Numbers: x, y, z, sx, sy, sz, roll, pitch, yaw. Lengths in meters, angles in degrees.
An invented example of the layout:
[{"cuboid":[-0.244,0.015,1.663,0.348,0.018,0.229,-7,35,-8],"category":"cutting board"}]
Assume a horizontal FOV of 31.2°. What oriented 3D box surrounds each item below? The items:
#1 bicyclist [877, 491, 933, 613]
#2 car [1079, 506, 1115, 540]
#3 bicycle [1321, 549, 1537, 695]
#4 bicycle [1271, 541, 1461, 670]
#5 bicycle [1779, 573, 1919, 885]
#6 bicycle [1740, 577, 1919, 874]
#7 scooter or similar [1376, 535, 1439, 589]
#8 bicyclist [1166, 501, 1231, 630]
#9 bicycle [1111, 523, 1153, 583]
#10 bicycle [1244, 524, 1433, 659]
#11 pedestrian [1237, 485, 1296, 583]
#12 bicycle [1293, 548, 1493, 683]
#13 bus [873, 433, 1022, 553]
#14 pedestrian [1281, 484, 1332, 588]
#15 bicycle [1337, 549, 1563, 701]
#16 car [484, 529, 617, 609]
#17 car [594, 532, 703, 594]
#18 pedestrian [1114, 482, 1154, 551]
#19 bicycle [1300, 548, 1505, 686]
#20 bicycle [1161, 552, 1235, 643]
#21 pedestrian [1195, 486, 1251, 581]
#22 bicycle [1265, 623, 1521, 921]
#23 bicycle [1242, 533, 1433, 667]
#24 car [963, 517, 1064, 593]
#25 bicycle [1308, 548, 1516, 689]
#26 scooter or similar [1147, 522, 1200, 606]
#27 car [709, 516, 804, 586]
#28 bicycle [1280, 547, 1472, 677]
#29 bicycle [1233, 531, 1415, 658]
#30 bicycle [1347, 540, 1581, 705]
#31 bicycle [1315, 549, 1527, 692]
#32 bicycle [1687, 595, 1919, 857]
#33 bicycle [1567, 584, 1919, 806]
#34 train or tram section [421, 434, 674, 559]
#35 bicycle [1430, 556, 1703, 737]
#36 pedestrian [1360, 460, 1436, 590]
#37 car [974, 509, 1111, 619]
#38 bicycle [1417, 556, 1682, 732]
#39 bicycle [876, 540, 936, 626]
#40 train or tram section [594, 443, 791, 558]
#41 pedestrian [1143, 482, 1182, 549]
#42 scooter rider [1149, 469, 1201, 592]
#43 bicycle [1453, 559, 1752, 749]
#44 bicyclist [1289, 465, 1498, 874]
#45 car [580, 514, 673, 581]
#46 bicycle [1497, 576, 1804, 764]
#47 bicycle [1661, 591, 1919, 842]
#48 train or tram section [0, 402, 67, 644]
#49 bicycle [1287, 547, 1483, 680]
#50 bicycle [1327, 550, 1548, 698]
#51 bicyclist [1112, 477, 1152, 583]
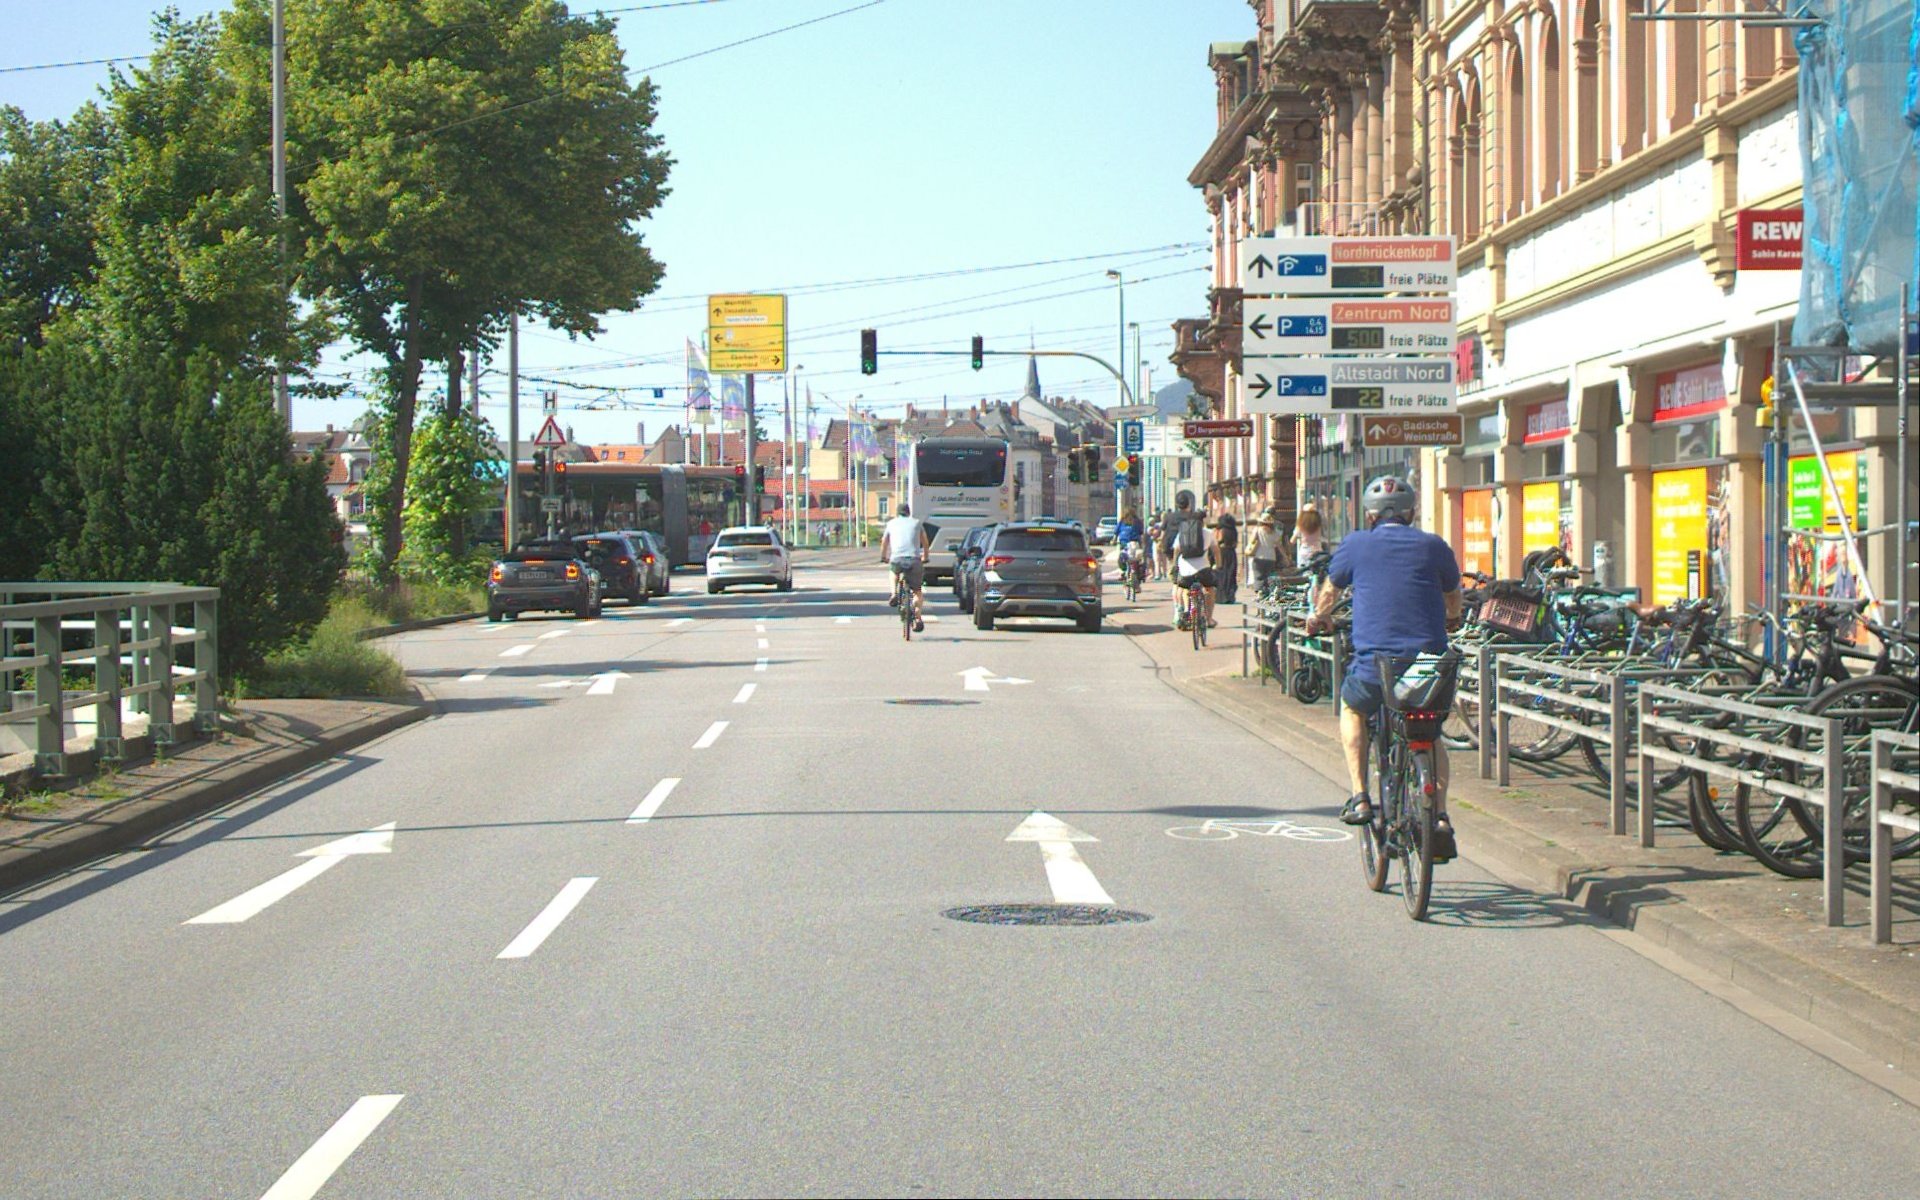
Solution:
[{"cuboid":[-0.727,-0.635,45.042,0.688,1.571,1.049,1,1,-2],"category":"bicyclist"},{"cuboid":[7.941,-4.479,199.515,1.993,1.871,4.000,-2,1,1],"category":"car"},{"cuboid":[3.815,0.176,28.007,1.693,1.174,0.451,0,1,0],"category":"bicycle"},{"cuboid":[3.745,0.046,31.755,1.693,1.174,0.470,0,1,0],"category":"bicycle"},{"cuboid":[4.087,0.485,13.296,1.693,1.174,0.608,0,1,0],"category":"bicycle"},{"cuboid":[4.088,0.498,13.981,1.693,1.174,0.608,0,1,0],"category":"bicycle"},{"cuboid":[5.870,-0.500,45.096,0.691,0.648,0.565,-5,1,-1],"category":"scooter or similar"},{"cuboid":[2.949,-0.438,42.591,0.688,1.571,1.049,1,1,-1],"category":"bicyclist"},{"cuboid":[3.185,-0.881,63.854,0.734,1.089,1.898,1,1,2],"category":"bicycle"},{"cuboid":[3.626,-0.089,33.004,1.693,1.174,0.609,-3,2,0],"category":"bicycle"},{"cuboid":[5.228,-1.131,58.767,0.862,1.634,0.876,-1,1,-2],"category":"pedestrian"},{"cuboid":[3.791,0.131,30.130,1.693,1.174,0.459,0,1,0],"category":"bicycle"},{"cuboid":[-0.395,-2.587,84.809,2.968,2.767,8.643,1,1,-5],"category":"bus"},{"cuboid":[5.513,-1.021,54.702,0.654,1.615,0.815,-2,2,-2],"category":"pedestrian"},{"cuboid":[3.826,0.189,26.900,1.693,1.174,0.497,0,1,0],"category":"bicycle"},{"cuboid":[-7.101,-0.564,59.950,1.815,1.327,4.000,1,1,0],"category":"car"},{"cuboid":[-6.883,-0.841,76.362,2.037,1.327,4.000,1,1,0],"category":"car"},{"cuboid":[4.216,-2.020,83.316,0.862,1.634,0.876,1,1,-2],"category":"pedestrian"},{"cuboid":[3.792,0.143,29.549,1.693,1.174,0.514,0,1,0],"category":"bicycle"},{"cuboid":[2.948,-0.046,42.769,0.734,1.089,1.898,1,1,-1],"category":"bicycle"},{"cuboid":[4.620,-1.174,60.451,0.862,1.634,0.876,-1,1,-2],"category":"pedestrian"},{"cuboid":[1.752,0.669,14.196,0.734,1.089,1.911,1,1,-2],"category":"bicycle"},{"cuboid":[3.542,-0.006,32.352,1.693,1.174,0.609,-2,2,0],"category":"bicycle"},{"cuboid":[1.068,-0.940,70.591,1.993,1.487,4.000,1,1,0],"category":"car"},{"cuboid":[3.810,0.155,29.011,1.693,1.174,0.457,0,1,0],"category":"bicycle"},{"cuboid":[3.025,-0.516,48.830,0.688,1.163,1.464,1,1,2],"category":"scooter or similar"},{"cuboid":[-4.546,-1.116,77.133,1.858,1.502,4.000,1,1,0],"category":"car"},{"cuboid":[3.780,0.107,31.294,1.693,1.174,0.470,0,1,0],"category":"bicycle"},{"cuboid":[3.555,-0.059,33.638,1.693,1.174,0.609,-2,2,0],"category":"bicycle"},{"cuboid":[3.838,0.164,26.231,1.693,1.236,0.608,0,1,0],"category":"bicycle"},{"cuboid":[3.818,0.165,28.517,1.693,1.174,0.463,0,1,0],"category":"bicycle"},{"cuboid":[4.037,0.530,14.775,1.693,1.093,0.608,0,1,0],"category":"bicycle"},{"cuboid":[4.023,0.476,17.561,1.739,1.105,0.608,0,1,0],"category":"bicycle"},{"cuboid":[-12.188,-3.038,102.854,2.826,3.569,10.020,1,1,23],"category":"train or tram section"},{"cuboid":[3.989,0.300,22.691,1.693,1.174,0.608,0,1,0],"category":"bicycle"},{"cuboid":[5.819,-0.993,45.709,0.755,1.650,0.837,-5,1,-1],"category":"pedestrian"},{"cuboid":[1.157,-0.555,50.037,1.873,1.487,4.000,-1,2,0],"category":"car"},{"cuboid":[3.991,0.291,23.356,1.693,1.174,0.608,0,1,0],"category":"bicycle"},{"cuboid":[-0.723,-0.232,45.132,0.734,1.089,1.898,1,1,-2],"category":"bicycle"},{"cuboid":[-8.578,-3.166,111.225,2.826,3.569,8.216,1,1,23],"category":"train or tram section"},{"cuboid":[5.011,-2.099,85.060,0.862,1.634,0.876,-1,1,-2],"category":"pedestrian"},{"cuboid":[3.048,-0.991,48.859,0.688,1.723,0.778,1,1,2],"category":"scooter rider"},{"cuboid":[4.038,0.331,21.673,1.771,1.174,0.608,0,1,0],"category":"bicycle"},{"cuboid":[1.760,0.267,14.063,0.688,1.610,0.918,1,1,-2],"category":"bicyclist"},{"cuboid":[-6.672,-1.060,68.973,1.451,1.296,4.000,1,1,0],"category":"car"},{"cuboid":[4.072,0.406,20.350,1.693,1.083,0.608,0,1,0],"category":"bicycle"},{"cuboid":[4.062,0.513,15.452,1.693,1.093,0.608,0,1,0],"category":"bicycle"},{"cuboid":[-15.500,-1.173,51.749,2.613,3.569,6.018,1,1,-1],"category":"train or tram section"},{"cuboid":[3.794,0.119,30.713,1.693,1.174,0.460,0,1,0],"category":"bicycle"},{"cuboid":[3.810,0.187,27.474,1.693,1.174,0.491,0,1,0],"category":"bicycle"},{"cuboid":[3.192,-1.301,63.836,0.688,1.955,0.778,1,1,2],"category":"bicyclist"}]
